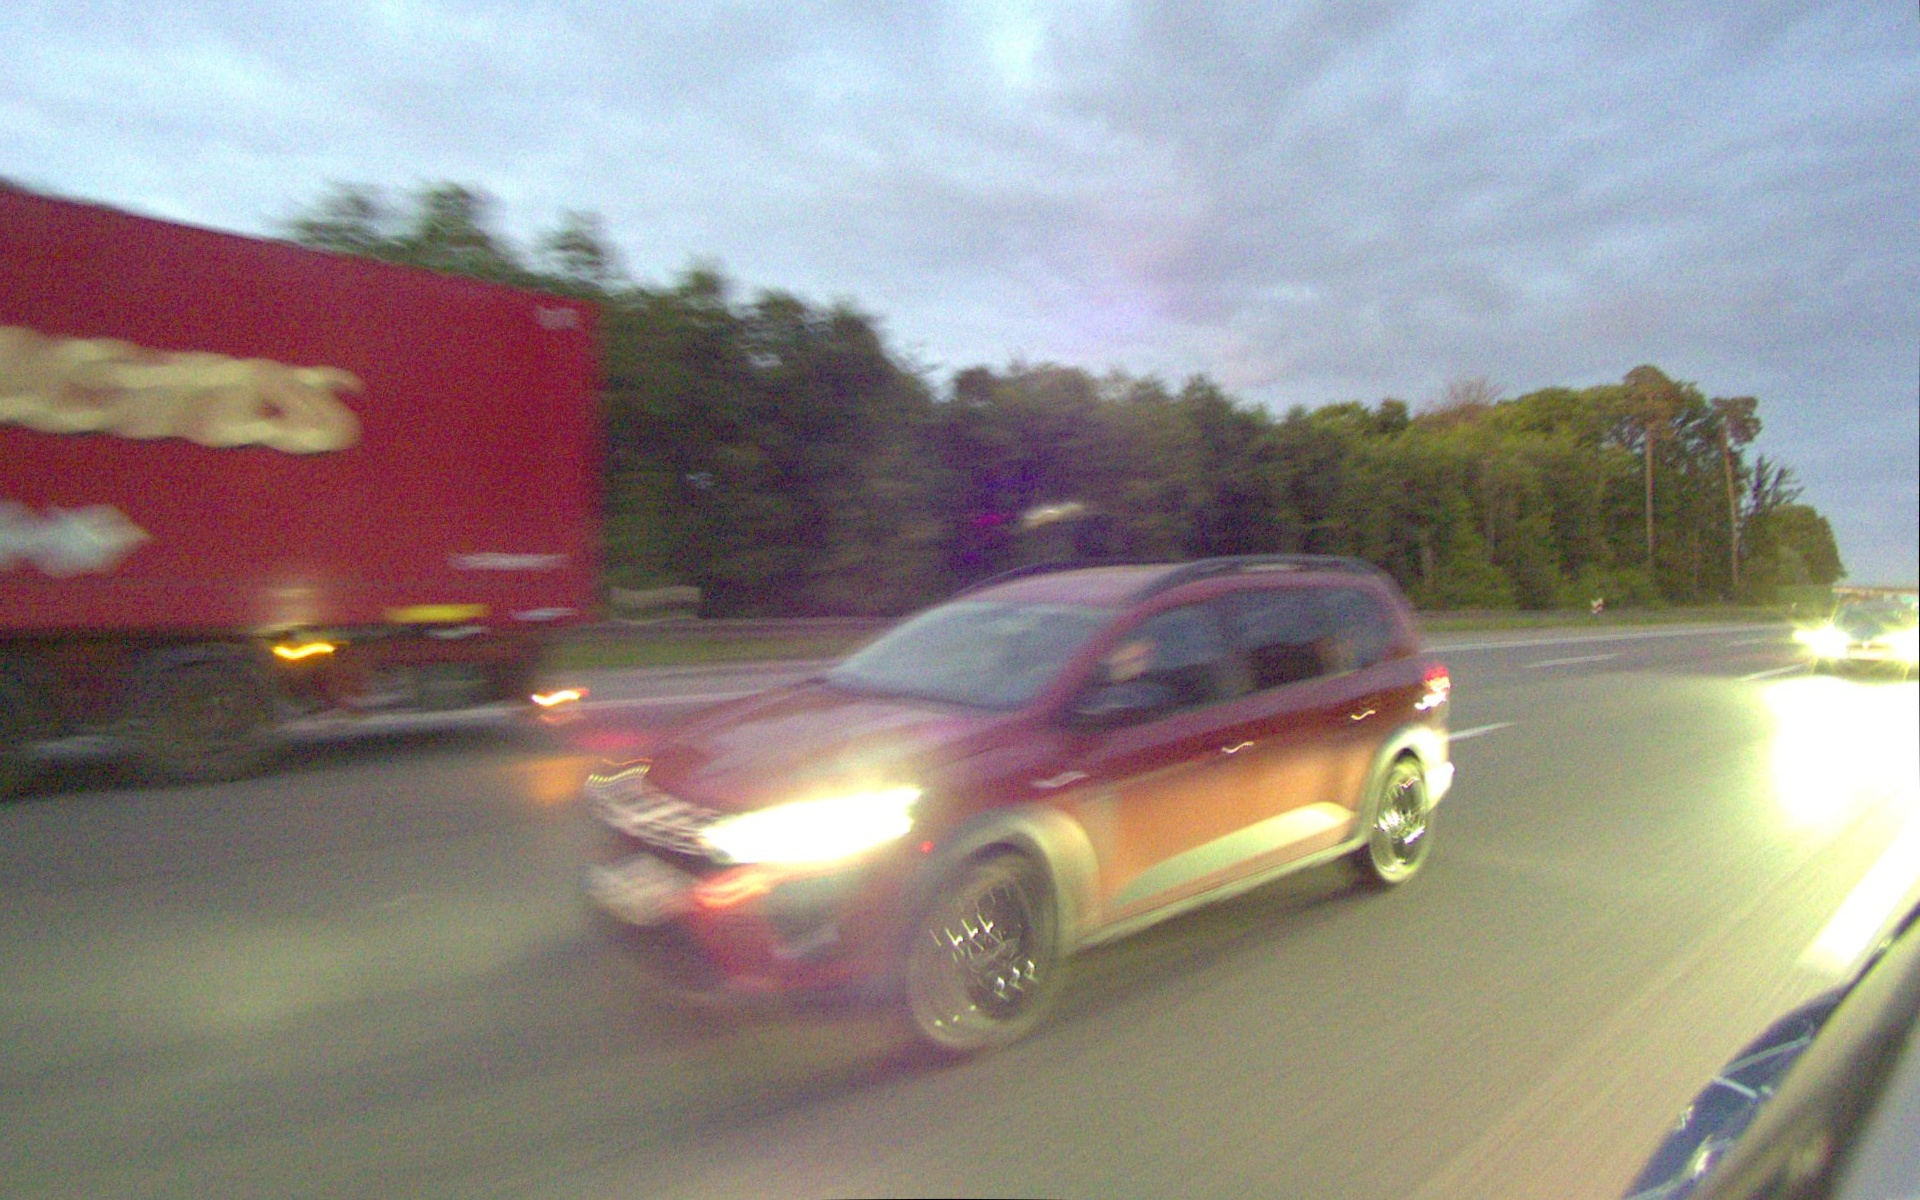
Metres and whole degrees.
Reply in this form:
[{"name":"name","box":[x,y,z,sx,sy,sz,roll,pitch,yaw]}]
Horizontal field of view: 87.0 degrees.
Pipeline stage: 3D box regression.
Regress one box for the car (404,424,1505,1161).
[{"name":"car","box":[0.464,0.364,4.659,4.966,1.664,1.905,-4,-1,-41]}]

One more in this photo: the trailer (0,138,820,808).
[{"name":"trailer","box":[-6.217,-0.812,7.960,10.174,4.152,2.913,0,1,-41]}]

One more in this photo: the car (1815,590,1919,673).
[{"name":"car","box":[20.019,0.591,21.609,5.140,1.556,1.913,-1,2,-41]}]
